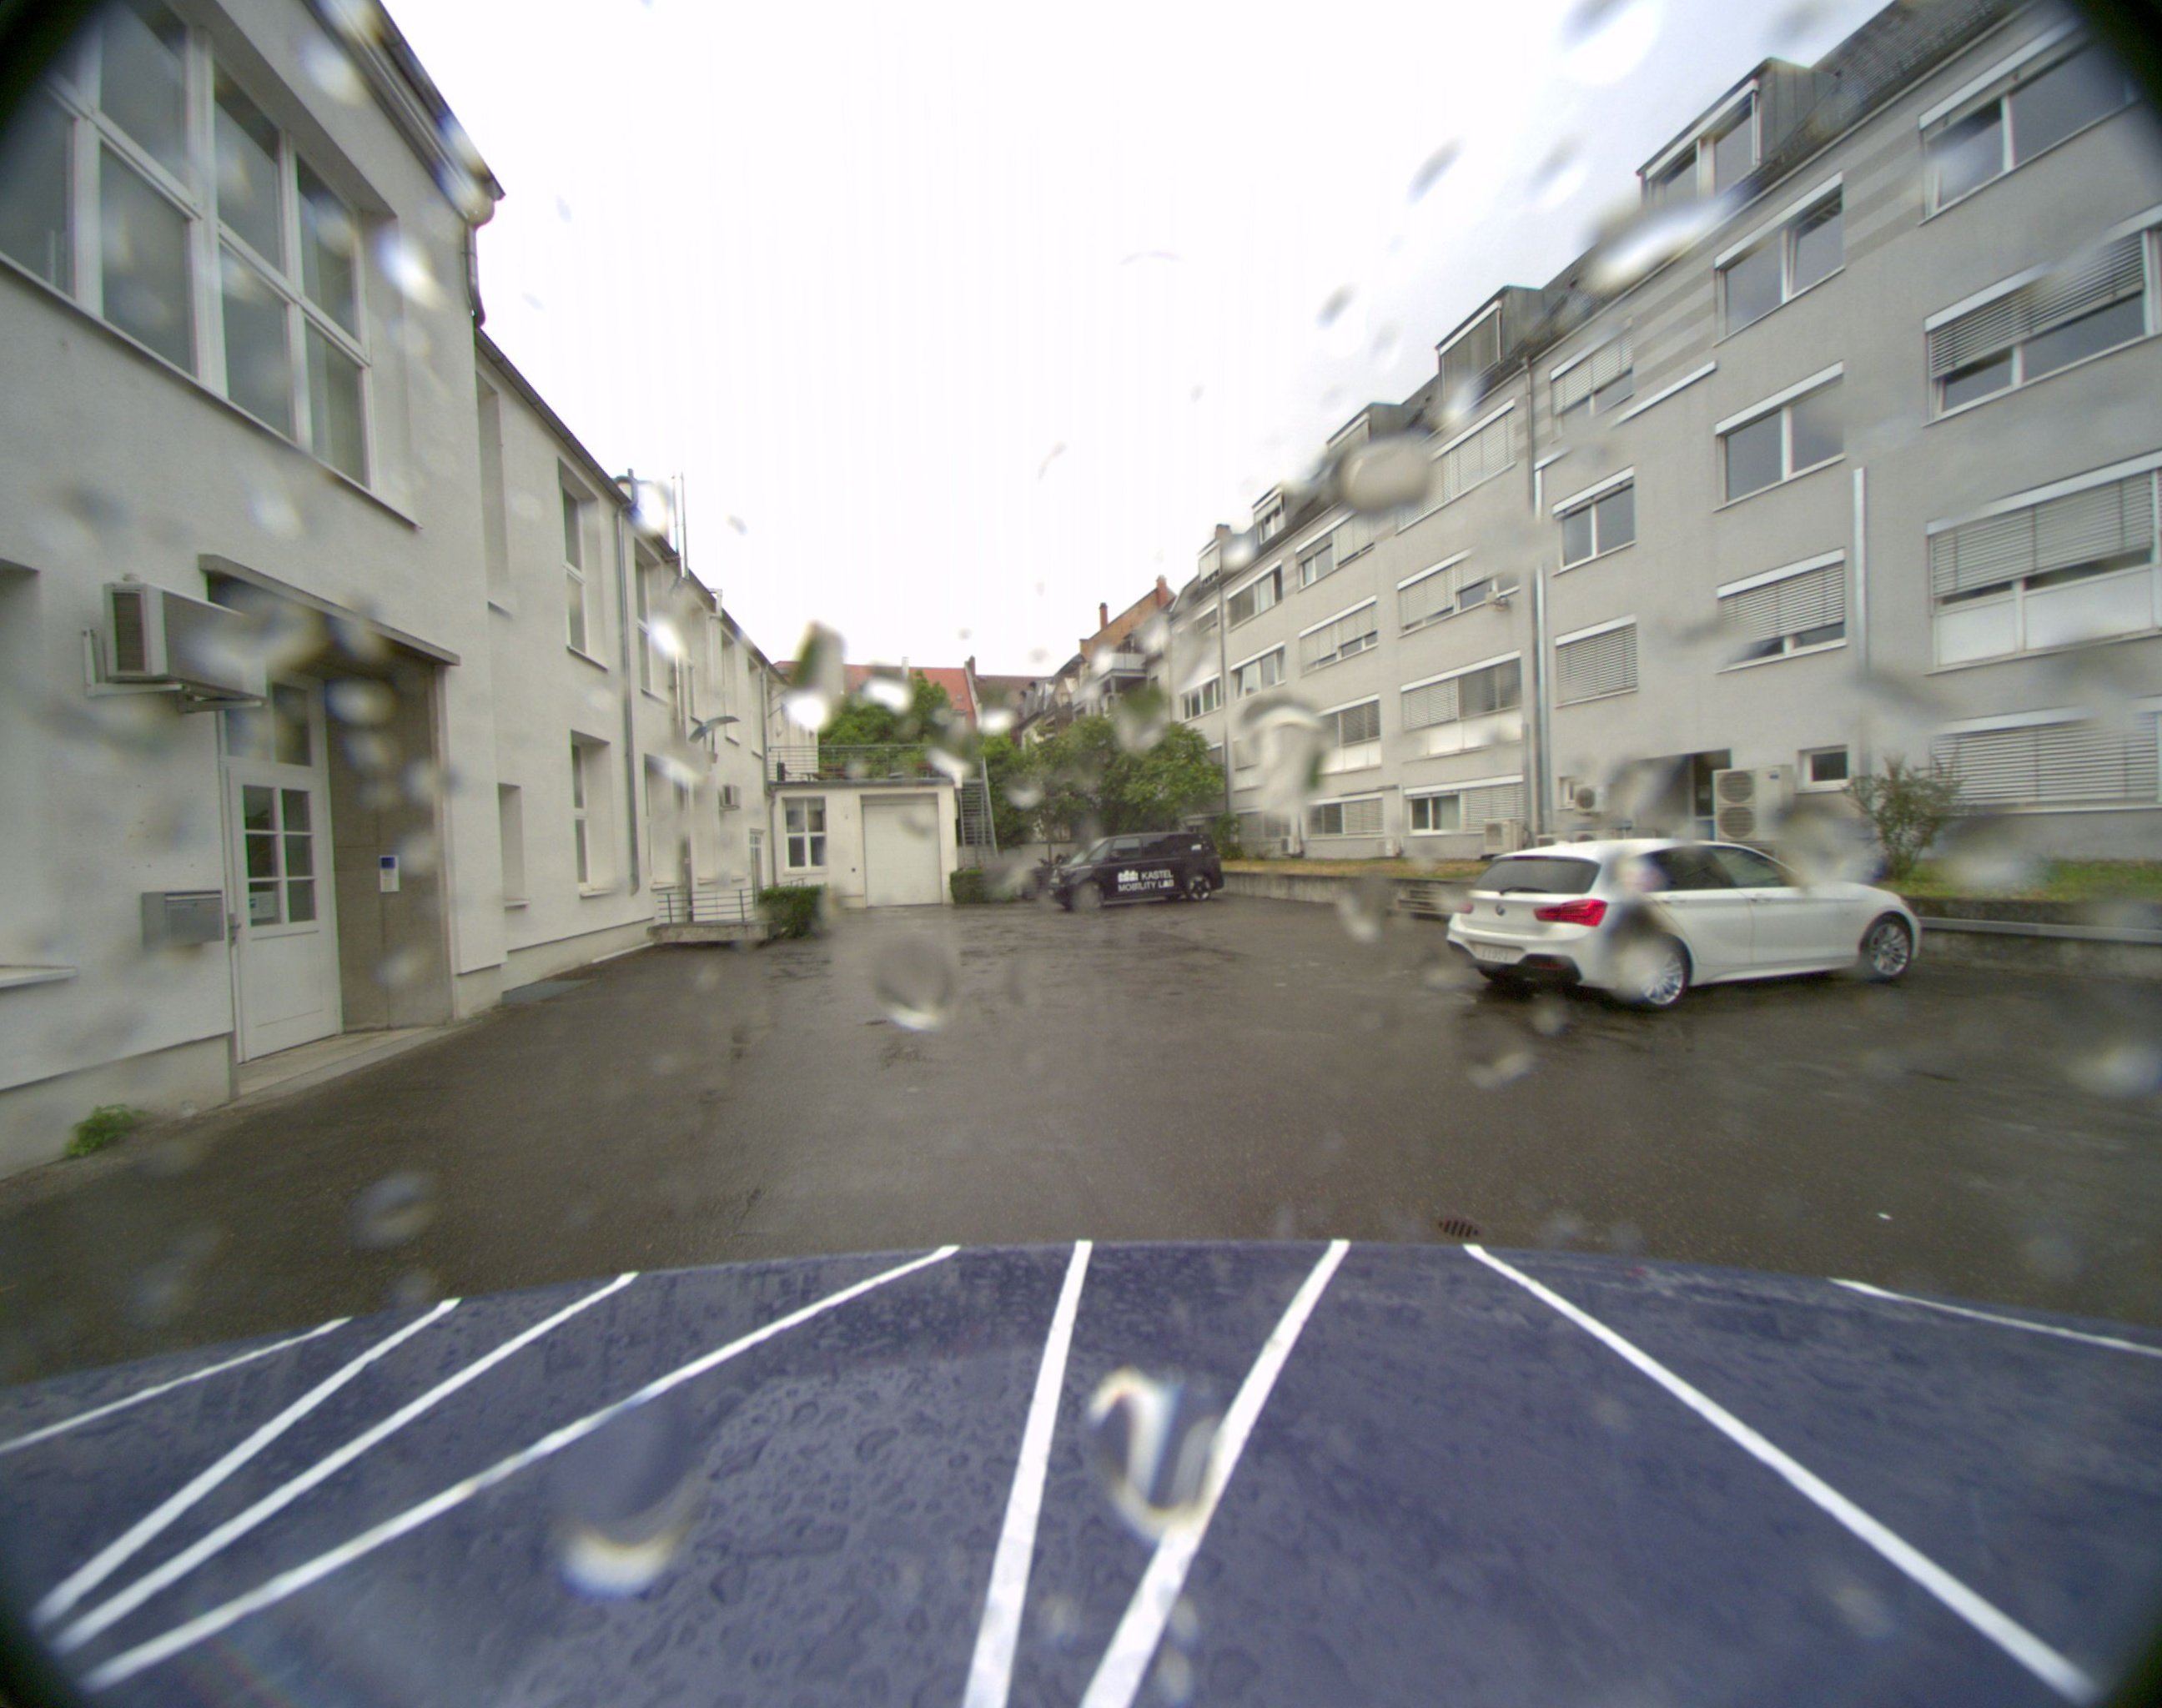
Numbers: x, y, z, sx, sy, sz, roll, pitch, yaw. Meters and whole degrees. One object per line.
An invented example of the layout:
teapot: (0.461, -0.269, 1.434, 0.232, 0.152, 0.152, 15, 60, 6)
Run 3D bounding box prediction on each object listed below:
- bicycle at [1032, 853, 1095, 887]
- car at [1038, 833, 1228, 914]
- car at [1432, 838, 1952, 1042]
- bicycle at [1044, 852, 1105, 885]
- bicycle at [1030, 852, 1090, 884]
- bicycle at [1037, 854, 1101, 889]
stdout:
bicycle: (-0.681, 0.610, 29.489, 2.321, 1.180, 0.642, -3, 4, -10)
car: (1.369, 0.484, 20.443, 4.634, 1.826, 1.985, -3, 0, -18)
car: (5.723, 0.643, 7.229, 4.155, 1.425, 1.750, -3, 2, -15)
bicycle: (-0.261, 0.554, 30.241, 2.321, 1.180, 0.642, -3, 4, -10)
bicycle: (-0.861, 0.553, 30.641, 2.321, 1.180, 0.642, -3, 4, -10)
bicycle: (-0.454, 0.643, 28.721, 2.321, 1.180, 0.642, -3, 4, -10)
